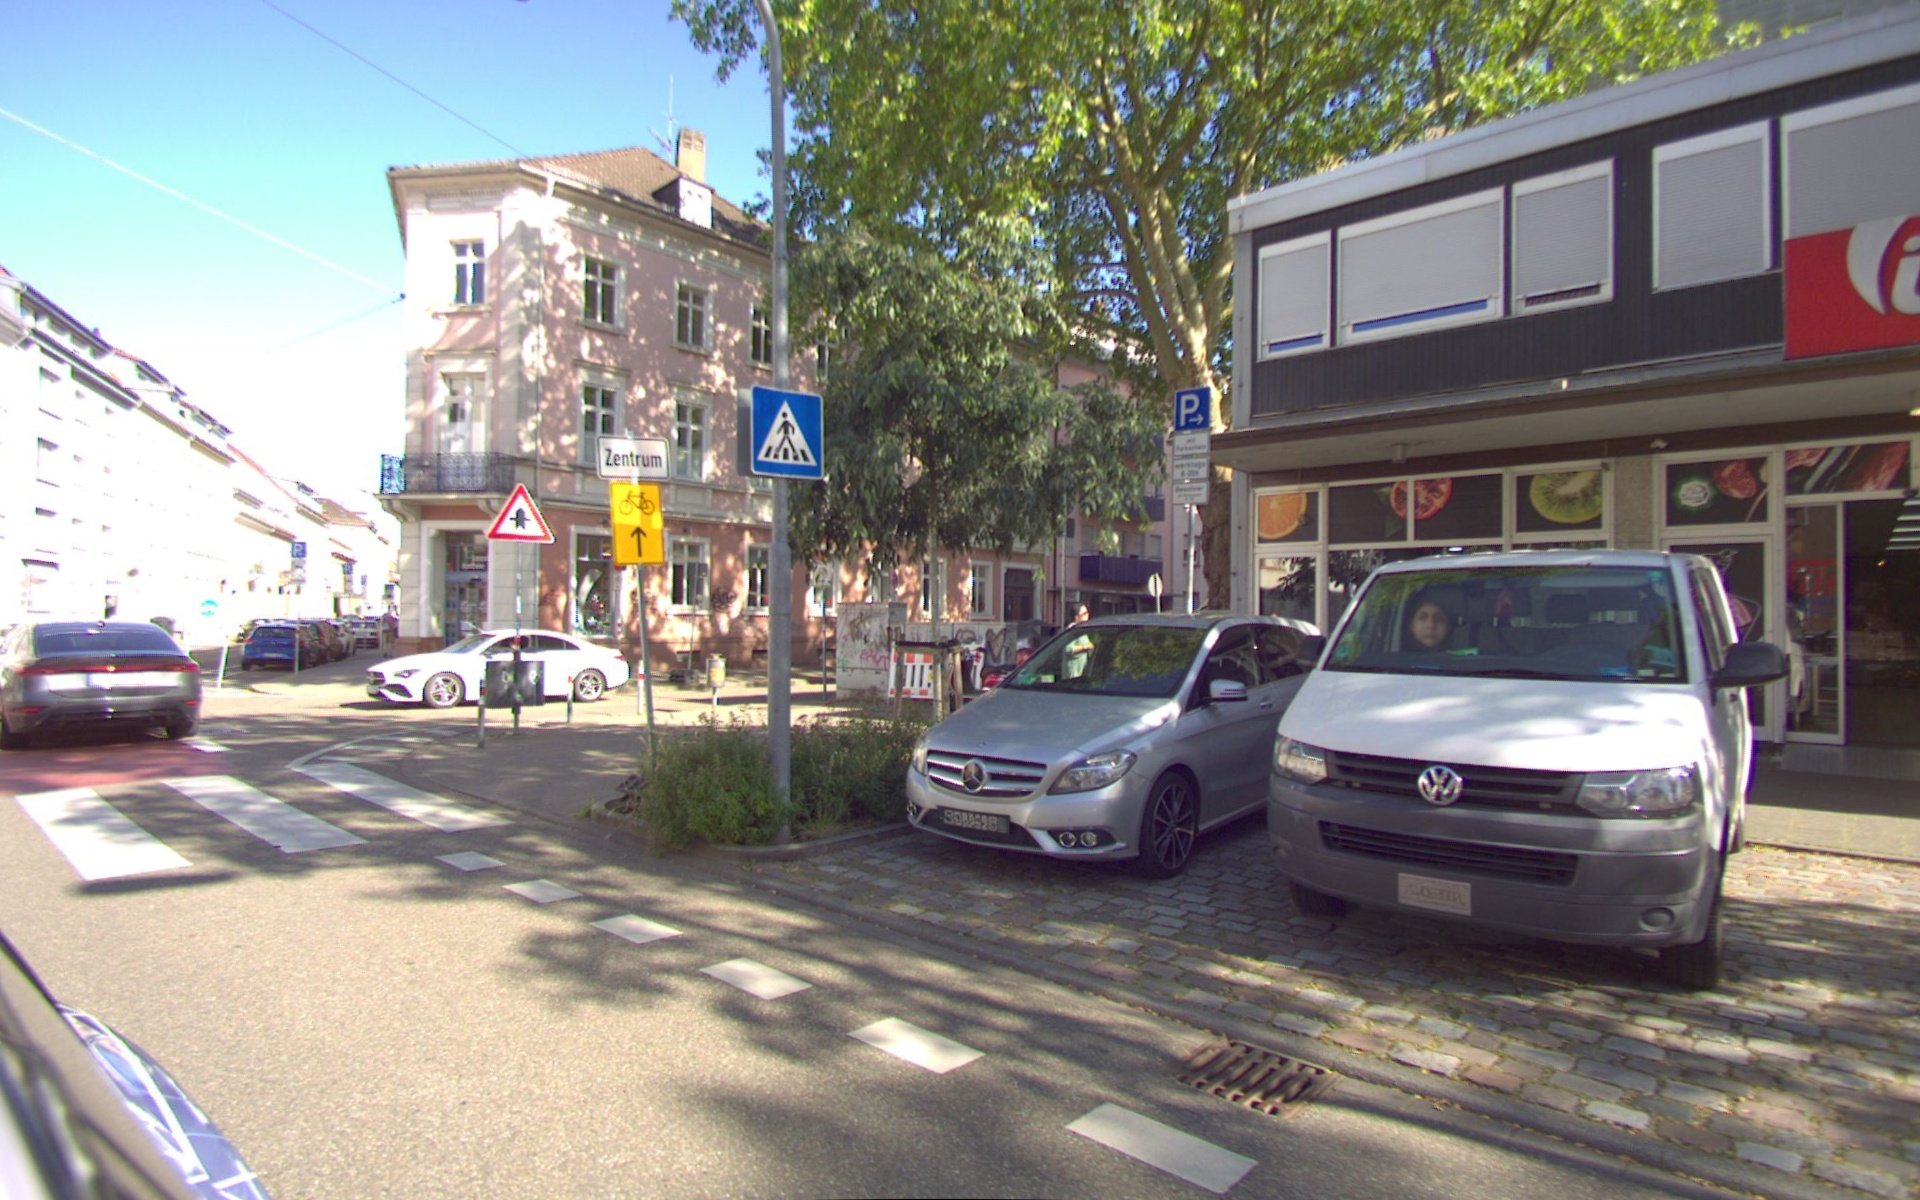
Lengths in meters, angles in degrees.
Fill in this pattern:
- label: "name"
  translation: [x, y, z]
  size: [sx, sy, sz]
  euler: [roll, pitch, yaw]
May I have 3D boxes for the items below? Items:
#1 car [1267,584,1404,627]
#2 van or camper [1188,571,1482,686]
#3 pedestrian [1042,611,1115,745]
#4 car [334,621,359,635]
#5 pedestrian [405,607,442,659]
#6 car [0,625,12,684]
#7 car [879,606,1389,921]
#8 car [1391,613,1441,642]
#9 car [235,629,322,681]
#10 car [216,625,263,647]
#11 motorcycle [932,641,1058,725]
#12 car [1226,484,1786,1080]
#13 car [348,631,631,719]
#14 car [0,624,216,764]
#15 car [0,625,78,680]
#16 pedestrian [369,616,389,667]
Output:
- label: "car"
  translation: [13.611, 0.224, 36.814]
  size: [4.410, 1.474, 1.580]
  euler: [-1, -2, 37]
- label: "van or camper"
  translation: [9.625, 0.890, 26.665]
  size: [6.928, 2.594, 1.971]
  euler: [-6, -6, 43]
- label: "pedestrian"
  translation: [1.477, 0.938, 12.516]
  size: [0.837, 1.585, 0.843]
  euler: [0, -2, 11]
- label: "car"
  translation: [-61.075, 2.800, 100.776]
  size: [1.677, 1.309, 3.651]
  euler: [1, -2, -25]
- label: "pedestrian"
  translation: [-20.527, 1.249, 38.737]
  size: [0.818, 1.774, 0.755]
  euler: [-14, 7, -21]
- label: "car"
  translation: [-25.365, 1.414, 24.974]
  size: [1.617, 1.553, 4.397]
  euler: [-1, -1, -25]
- label: "car"
  translation: [1.536, 0.901, 7.421]
  size: [1.757, 1.625, 4.245]
  euler: [-1, -2, 41]
- label: "car"
  translation: [30.474, 1.845, 67.567]
  size: [1.766, 1.868, 4.266]
  euler: [-1, -2, 43]
- label: "car"
  translation: [-21.508, 1.706, 32.050]
  size: [1.677, 1.444, 3.651]
  euler: [4, -2, -25]
- label: "car"
  translation: [-43.577, 2.180, 61.285]
  size: [1.677, 1.309, 3.651]
  euler: [1, -2, -25]
- label: "motorcycle"
  translation: [0.500, 1.229, 15.255]
  size: [1.922, 1.189, 0.660]
  euler: [-3, -4, 43]
- label: "car"
  translation: [3.490, 0.619, 5.875]
  size: [1.958, 2.021, 4.682]
  euler: [-1, 0, 40]
- label: "car"
  translation: [-8.818, 1.409, 19.273]
  size: [1.864, 1.468, 4.496]
  euler: [-3, -5, 44]
- label: "car"
  translation: [-11.291, 1.062, 12.961]
  size: [4.575, 1.465, 1.889]
  euler: [-1, -3, 42]
- label: "car"
  translation: [-28.224, 1.541, 30.448]
  size: [1.604, 1.553, 3.651]
  euler: [-1, -1, -25]
- label: "pedestrian"
  translation: [-21.825, 1.534, 38.017]
  size: [0.561, 1.870, 0.709]
  euler: [-2, 0, -26]
